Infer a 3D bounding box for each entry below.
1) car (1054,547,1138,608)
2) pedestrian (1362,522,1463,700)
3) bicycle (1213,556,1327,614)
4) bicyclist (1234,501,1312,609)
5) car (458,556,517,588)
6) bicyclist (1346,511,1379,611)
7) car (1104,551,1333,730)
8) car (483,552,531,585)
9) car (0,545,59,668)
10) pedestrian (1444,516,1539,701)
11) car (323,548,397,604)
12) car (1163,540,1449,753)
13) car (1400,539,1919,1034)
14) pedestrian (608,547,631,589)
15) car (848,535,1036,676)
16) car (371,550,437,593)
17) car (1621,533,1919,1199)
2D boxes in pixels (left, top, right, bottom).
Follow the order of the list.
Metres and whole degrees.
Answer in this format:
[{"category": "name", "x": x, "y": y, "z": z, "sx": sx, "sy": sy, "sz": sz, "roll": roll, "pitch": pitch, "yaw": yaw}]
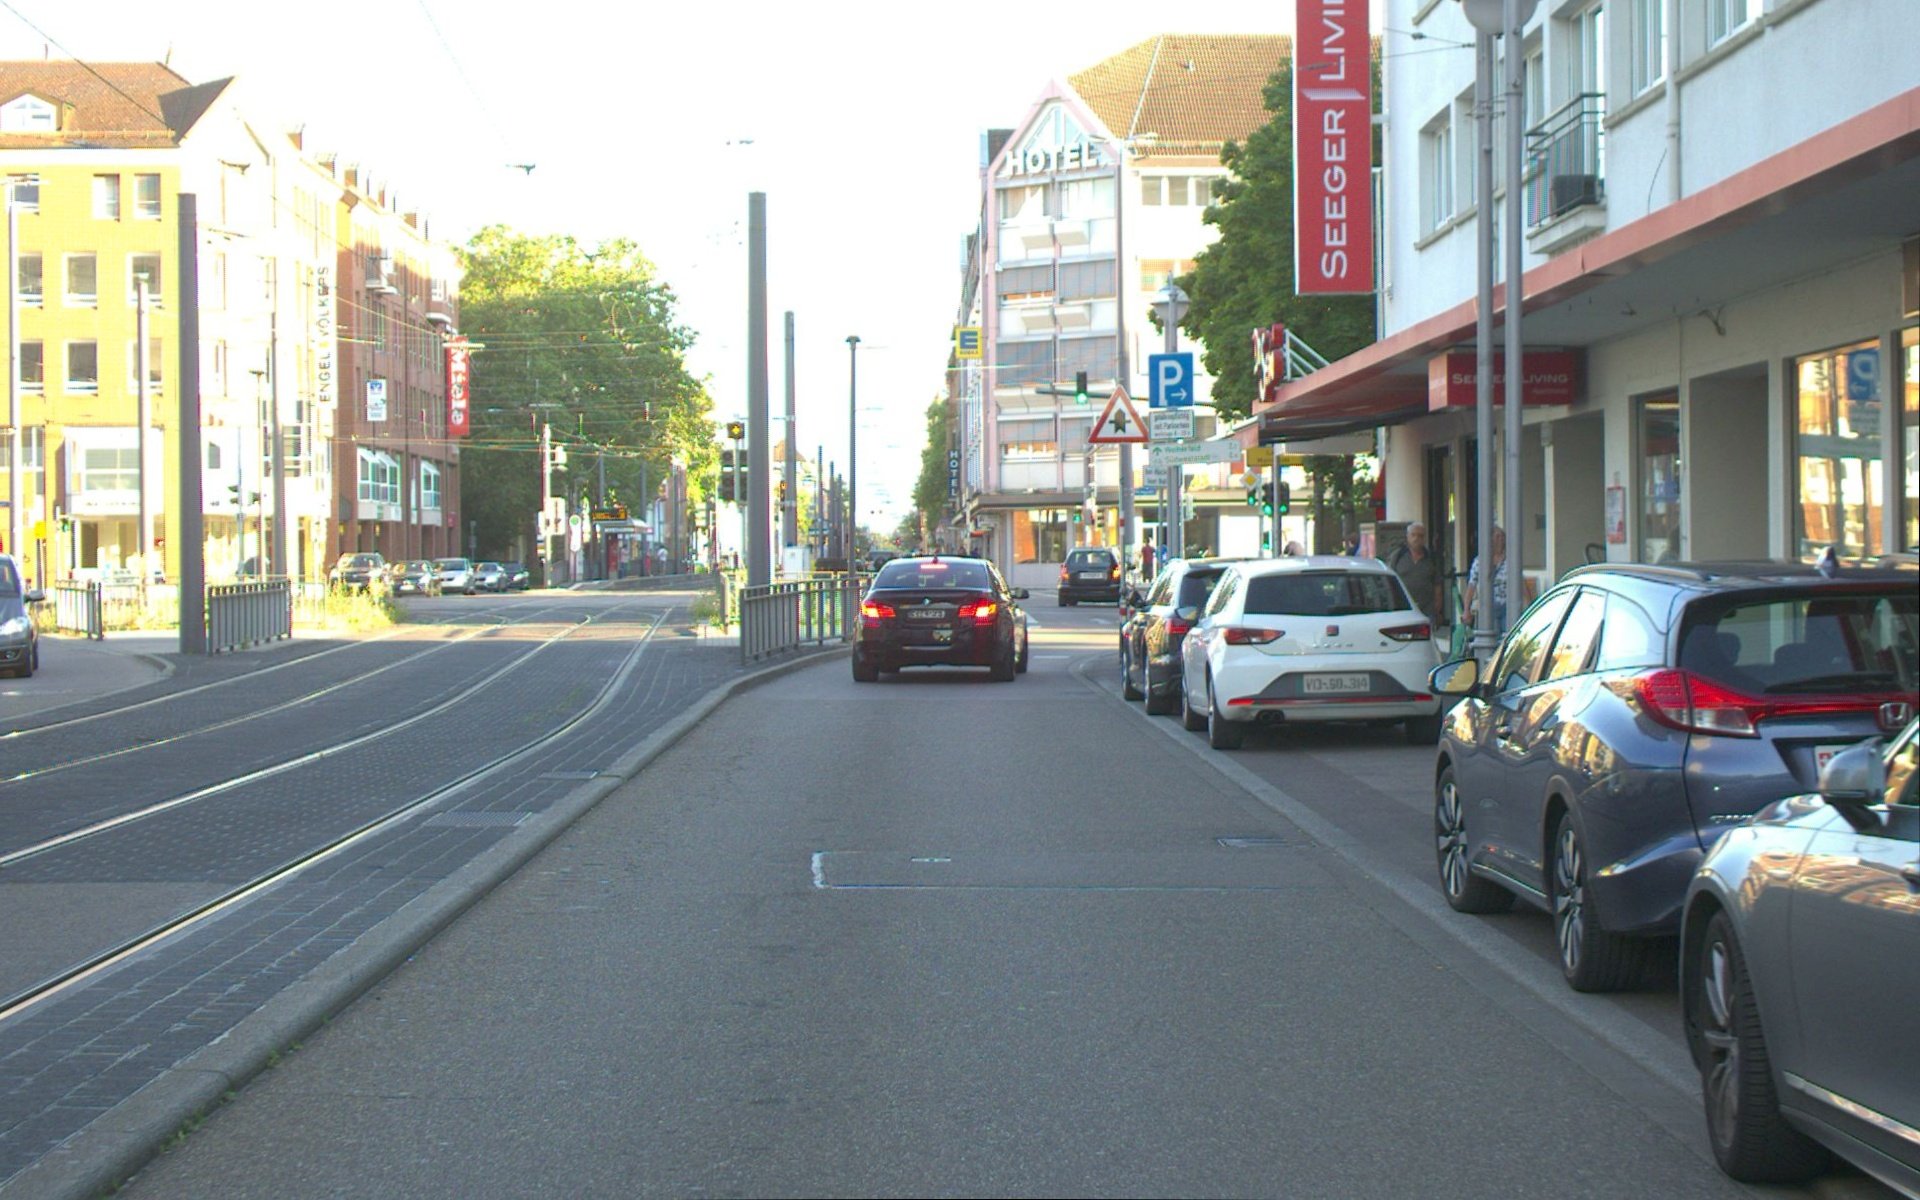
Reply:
[{"category": "car", "x": 3.554, "y": -0.614, "z": 90.615, "sx": 1.993, "sy": 1.546, "sz": 4.000, "roll": -1, "pitch": 1, "yaw": -1}, {"category": "pedestrian", "x": 4.465, "y": 0.104, "z": 33.952, "sx": 0.827, "sy": 1.712, "sz": 0.843, "roll": -2, "pitch": 1, "yaw": 0}, {"category": "bicycle", "x": 5.547, "y": -0.270, "z": 61.532, "sx": 0.838, "sy": 1.016, "sz": 2.077, "roll": -1, "pitch": 1, "yaw": -38}, {"category": "bicyclist", "x": 5.595, "y": -0.802, "z": 61.435, "sx": 0.838, "sy": 1.910, "sz": 1.114, "roll": -1, "pitch": 1, "yaw": -38}, {"category": "car", "x": -21.911, "y": -1.313, "z": 159.437, "sx": 1.669, "sy": 1.443, "sz": 4.201, "roll": 0, "pitch": 1, "yaw": 7}, {"category": "bicyclist", "x": 7.343, "y": -0.714, "z": 62.732, "sx": 0.464, "sy": 1.824, "sz": 0.559, "roll": 0, "pitch": 1, "yaw": -9}, {"category": "car", "x": 2.369, "y": 0.326, "z": 32.499, "sx": 1.735, "sy": 1.507, "sz": 4.686, "roll": -2, "pitch": 1, "yaw": 0}, {"category": "car", "x": -22.313, "y": -1.544, "z": 169.400, "sx": 1.993, "sy": 1.579, "sz": 4.479, "roll": -1, "pitch": 1, "yaw": -3}, {"category": "car", "x": -12.632, "y": 0.065, "z": 44.149, "sx": 1.735, "sy": 1.507, "sz": 4.036, "roll": -1, "pitch": 1, "yaw": -10}, {"category": "pedestrian", "x": 5.109, "y": 0.071, "z": 33.089, "sx": 0.728, "sy": 1.735, "sz": 0.863, "roll": -2, "pitch": 1, "yaw": 0}, {"category": "car", "x": -21.090, "y": -0.856, "z": 120.986, "sx": 1.993, "sy": 1.895, "sz": 4.812, "roll": -1, "pitch": 1, "yaw": -3}, {"category": "car", "x": 2.652, "y": 0.311, "z": 27.206, "sx": 1.785, "sy": 1.507, "sz": 4.052, "roll": -2, "pitch": 1, "yaw": 0}, {"category": "car", "x": 2.840, "y": 0.550, "z": 12.964, "sx": 1.735, "sy": 1.507, "sz": 4.303, "roll": -2, "pitch": 1, "yaw": 0}, {"category": "pedestrian", "x": -16.489, "y": -1.571, "z": 166.483, "sx": 0.988, "sy": 2.007, "sz": 0.726, "roll": 1, "pitch": 0, "yaw": -2}, {"category": "car", "x": -0.163, "y": 0.027, "z": 41.128, "sx": 1.994, "sy": 1.579, "sz": 4.000, "roll": -1, "pitch": 1, "yaw": 3}, {"category": "car", "x": -21.221, "y": -1.092, "z": 131.376, "sx": 1.993, "sy": 1.579, "sz": 4.588, "roll": -1, "pitch": 1, "yaw": -3}, {"category": "car", "x": 2.700, "y": 0.610, "z": 6.534, "sx": 1.790, "sy": 1.507, "sz": 4.712, "roll": -2, "pitch": 1, "yaw": -2}]
